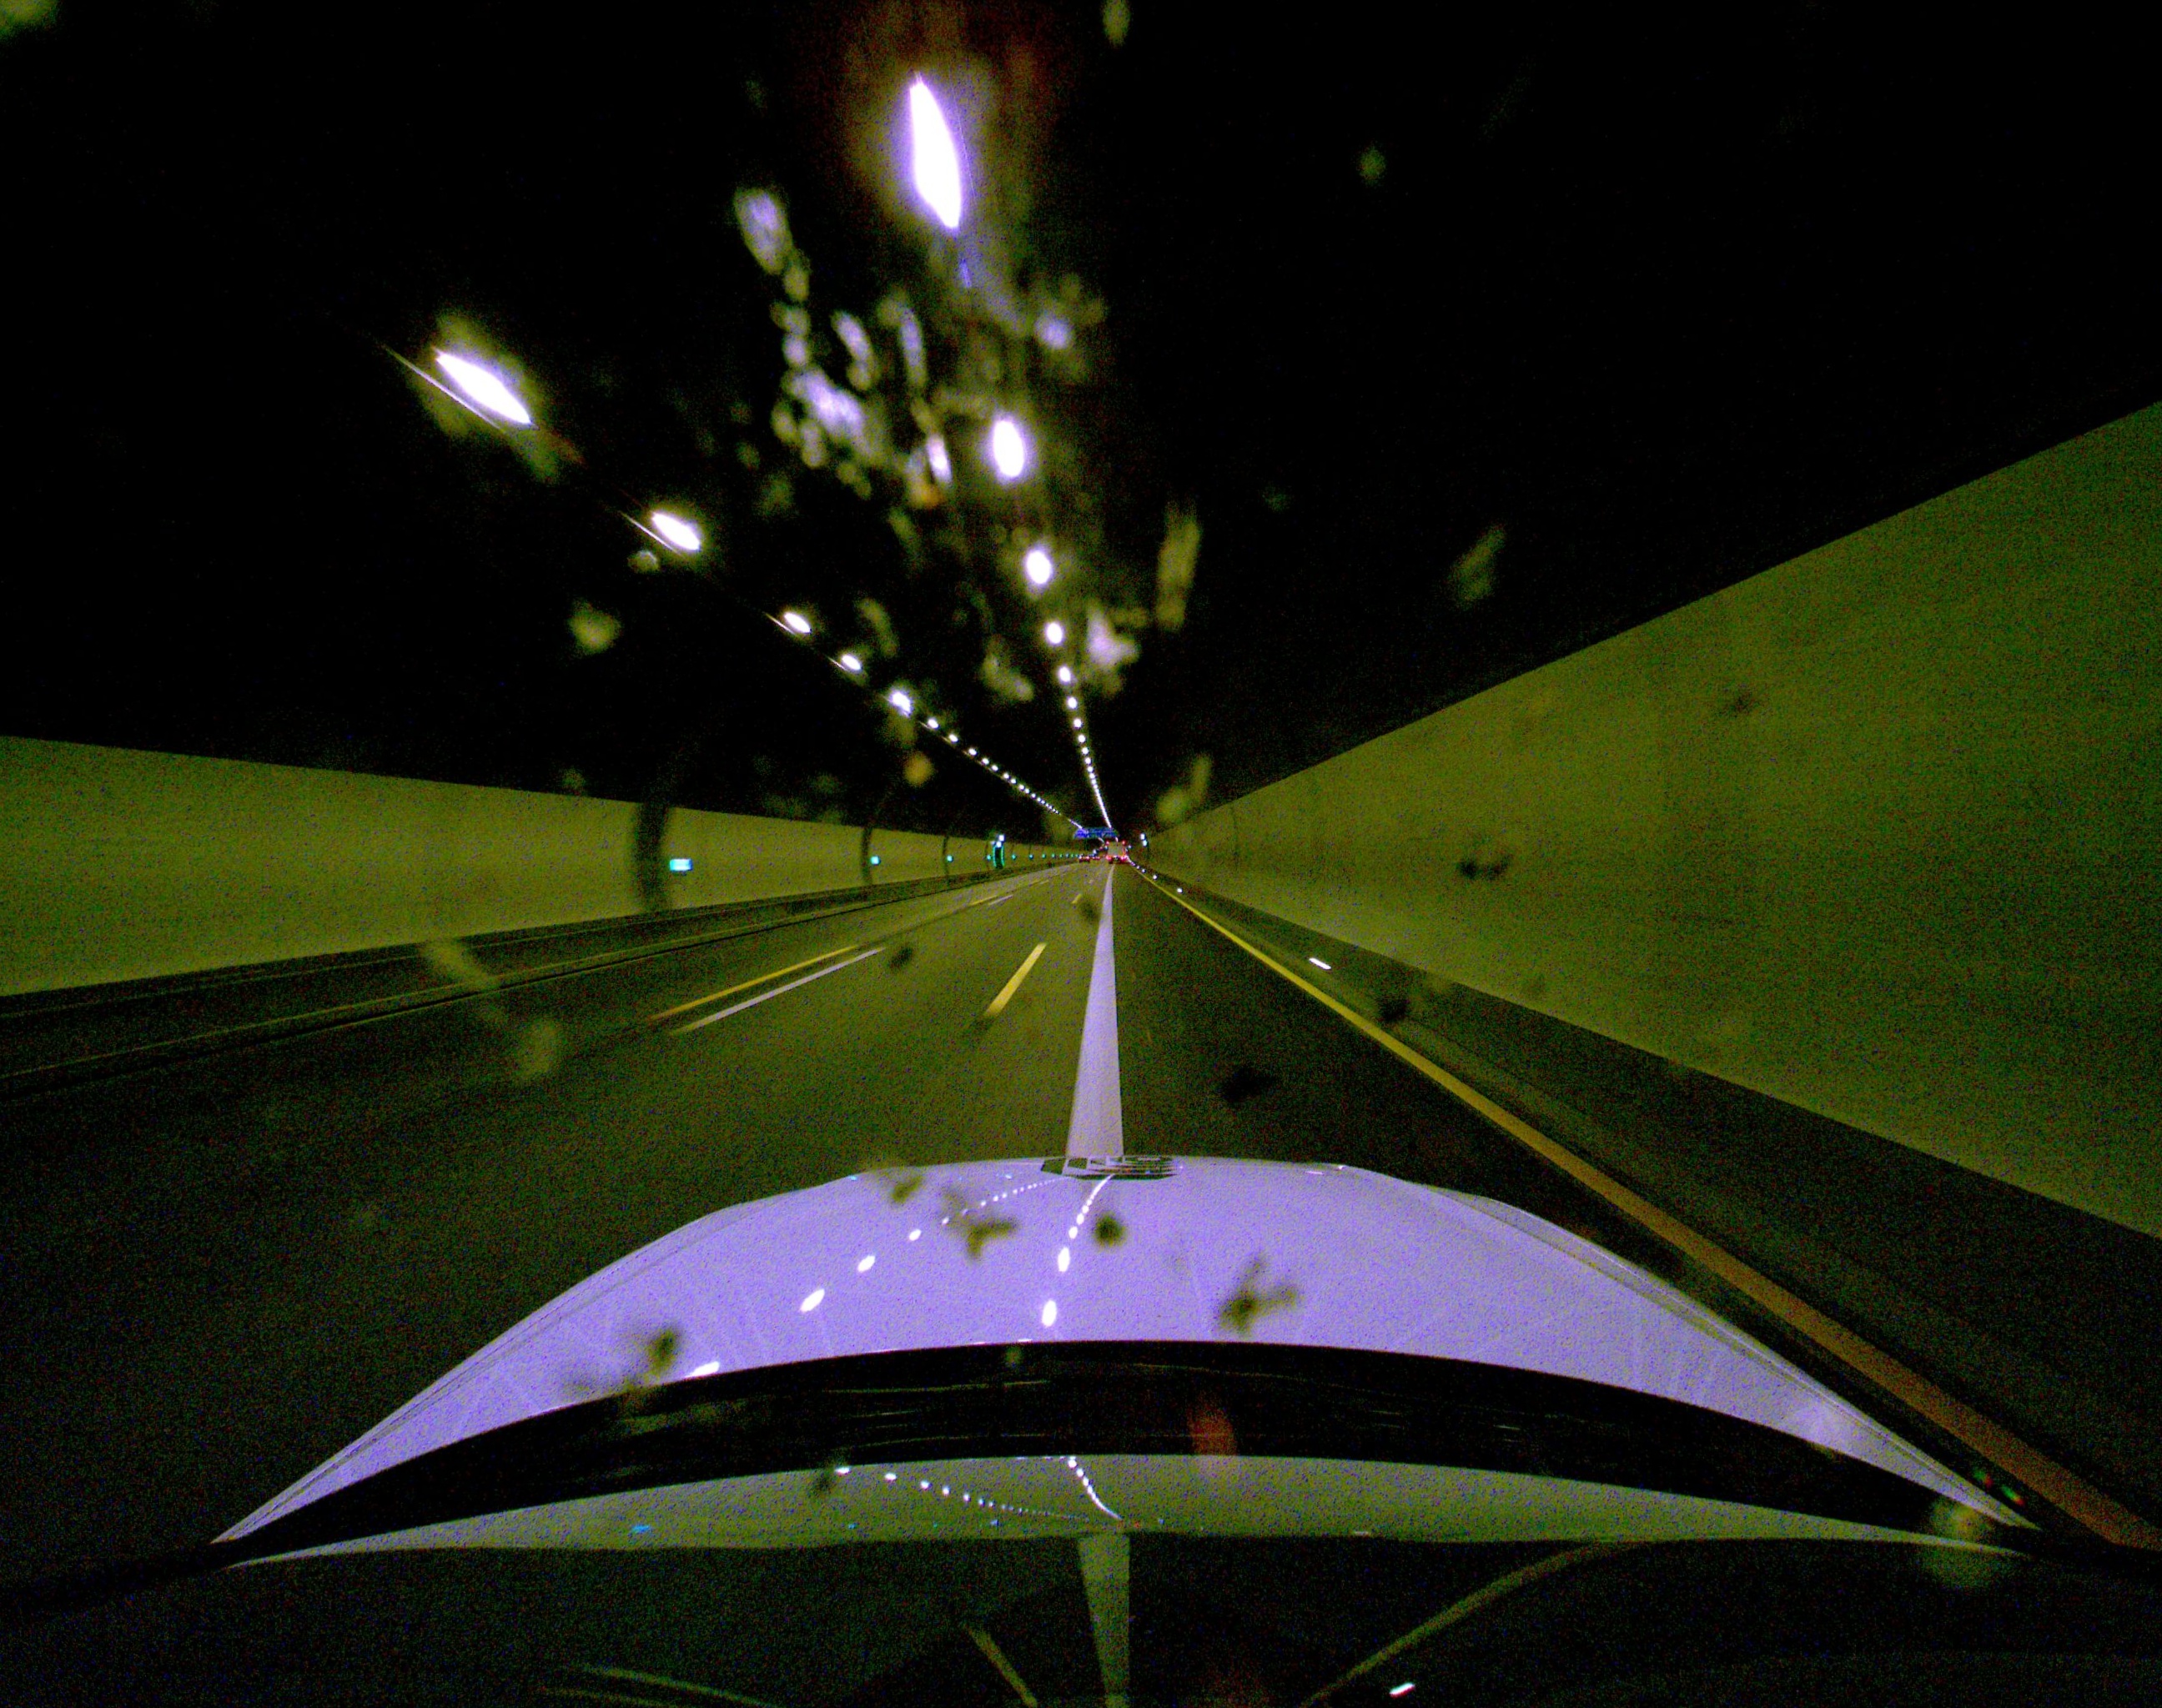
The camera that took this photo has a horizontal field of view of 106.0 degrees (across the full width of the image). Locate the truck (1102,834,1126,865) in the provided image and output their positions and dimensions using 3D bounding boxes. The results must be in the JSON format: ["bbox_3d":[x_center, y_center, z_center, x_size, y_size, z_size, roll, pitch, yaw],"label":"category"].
[{"bbox_3d":[5.308,-0.772,134.278,3.267,4.650,17.287,-3,0,1],"label":"truck"}]

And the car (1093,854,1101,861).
[{"bbox_3d":[4.018,0.896,201.427,1.807,1.520,3.999,-1,2,-1],"label":"car"}]

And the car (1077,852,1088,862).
[{"bbox_3d":[0.278,0.569,145.602,1.806,1.618,4.000,-1,0,0],"label":"car"}]

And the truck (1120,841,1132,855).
[{"bbox_3d":[13.785,-1.734,249.598,2.912,4.047,14.033,-3,0,1],"label":"truck"}]
